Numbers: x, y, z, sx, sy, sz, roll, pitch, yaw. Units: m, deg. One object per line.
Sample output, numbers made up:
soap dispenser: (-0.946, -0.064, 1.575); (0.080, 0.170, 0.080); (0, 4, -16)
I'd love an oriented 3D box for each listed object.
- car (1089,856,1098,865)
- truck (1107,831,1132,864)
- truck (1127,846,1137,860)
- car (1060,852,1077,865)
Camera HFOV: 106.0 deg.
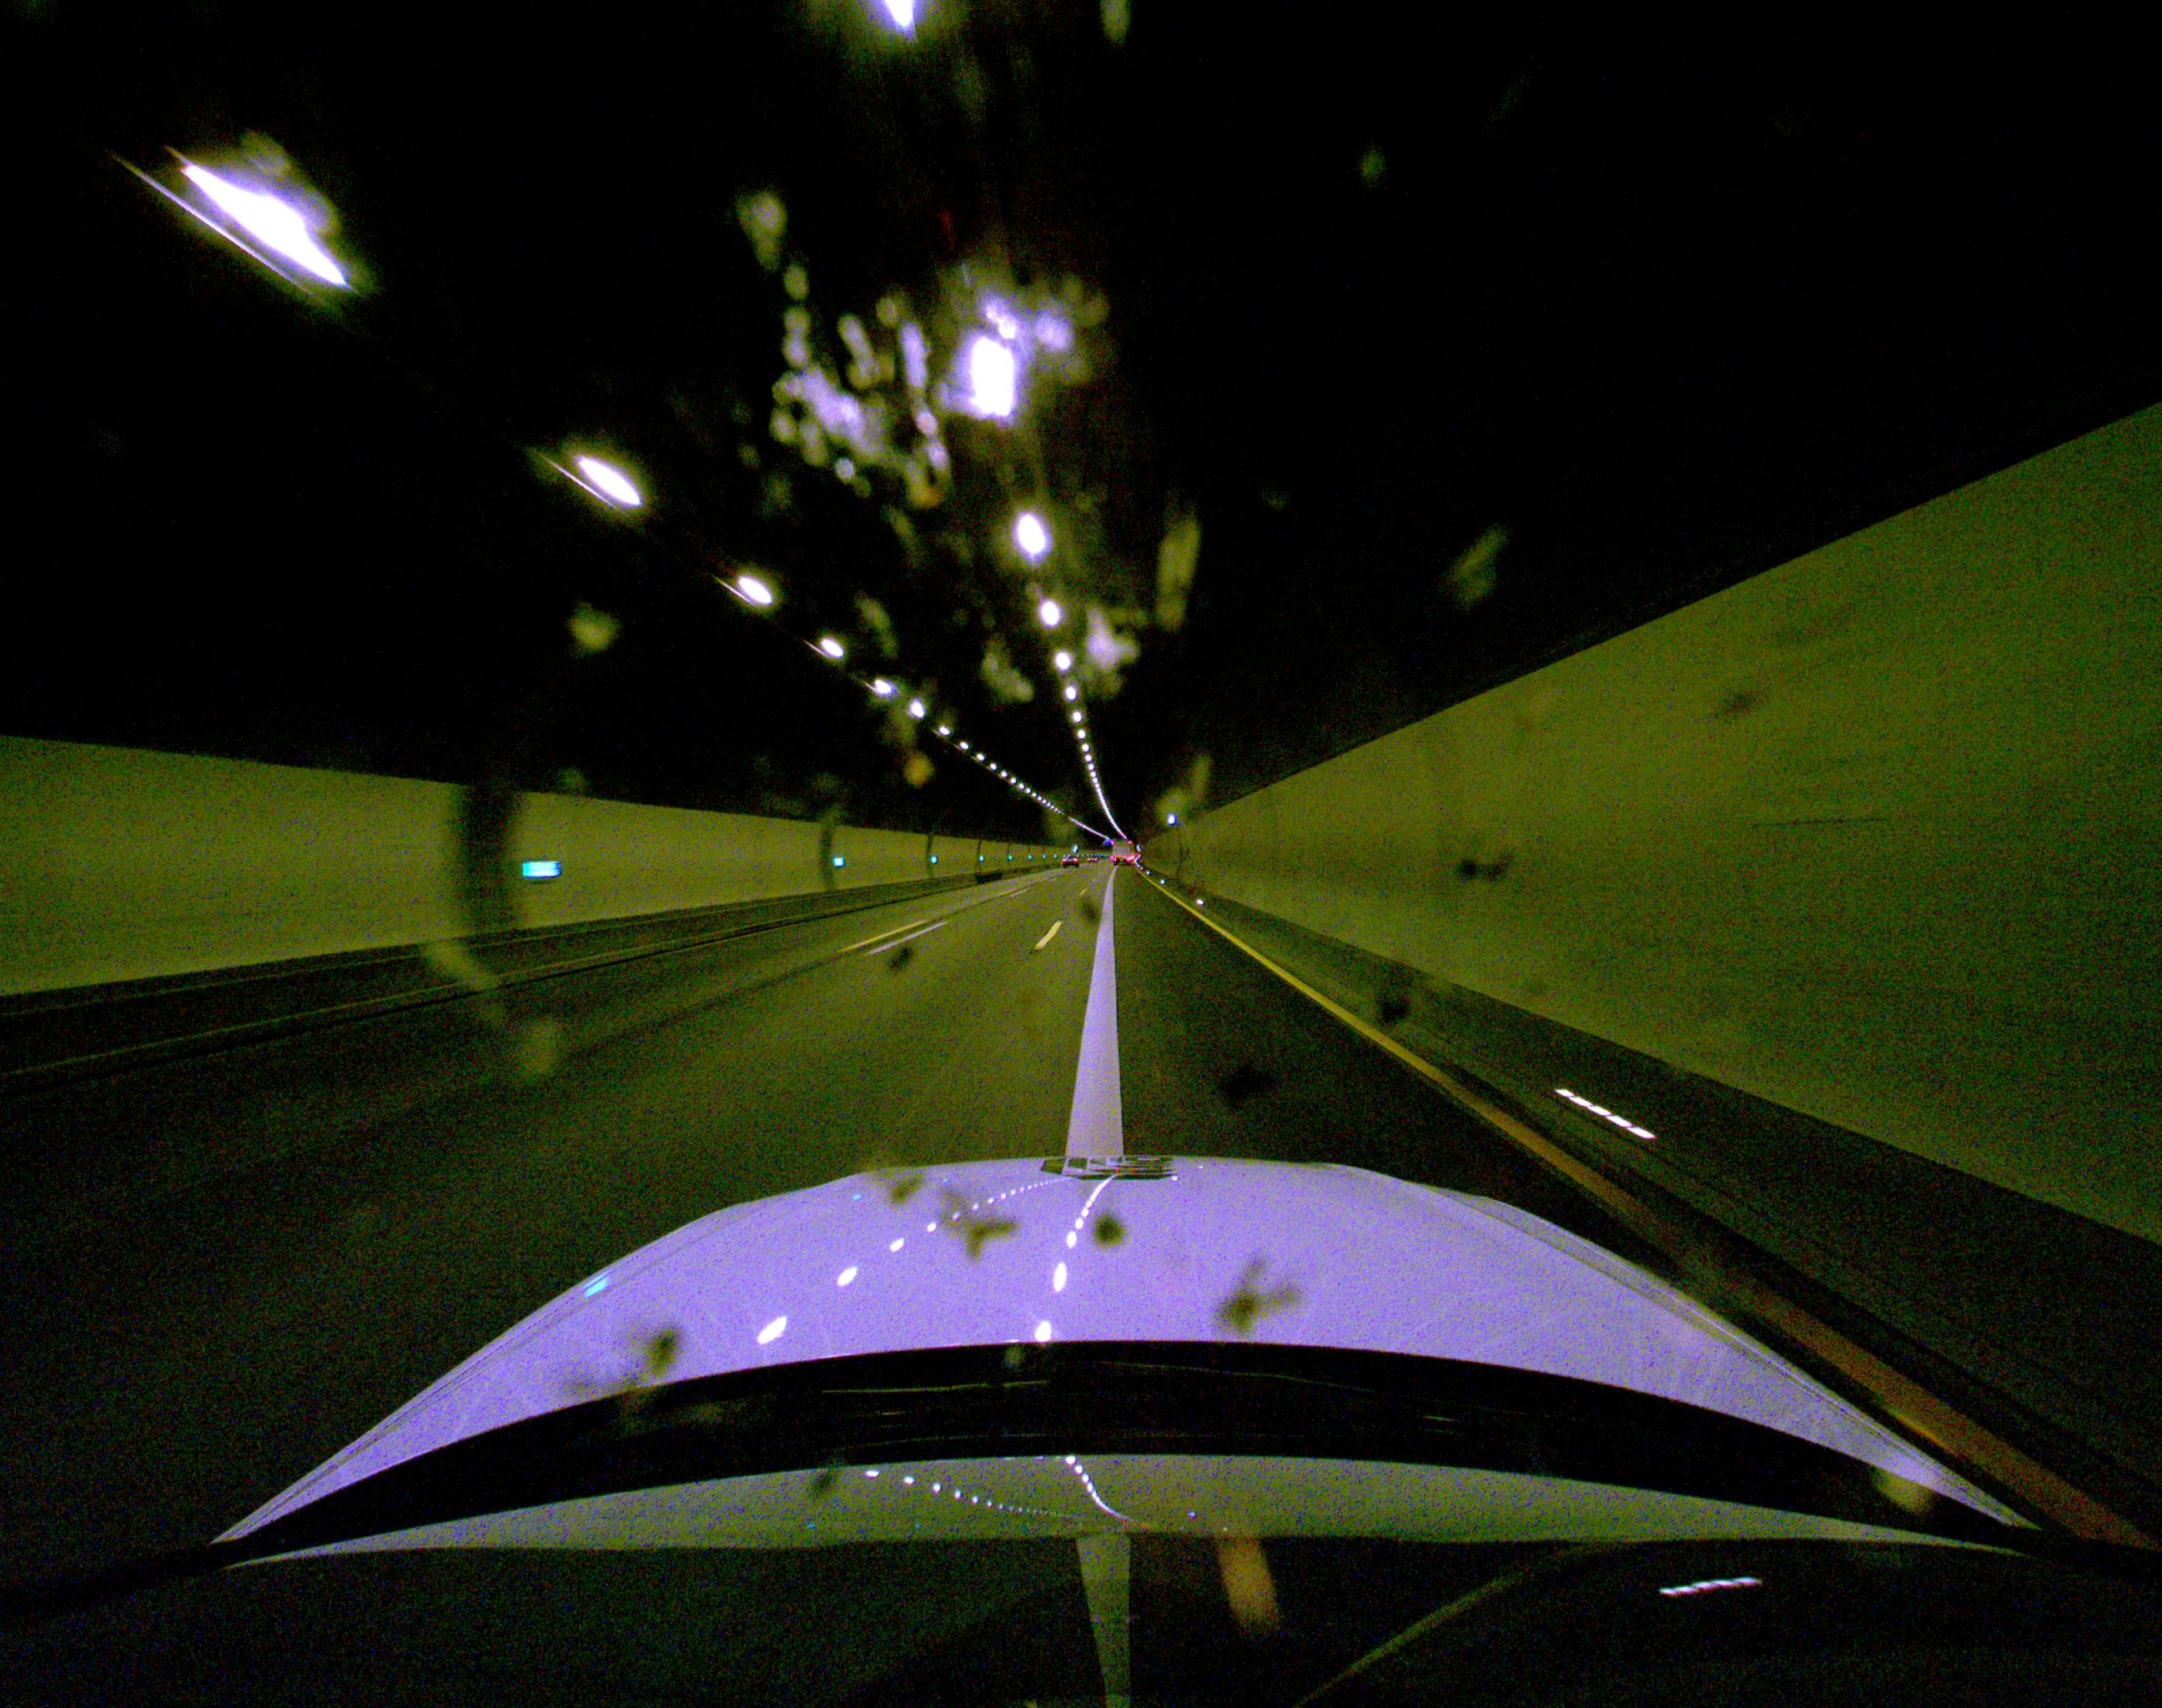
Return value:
car: (2.428, 1.233, 156.473); (1.806, 1.520, 4.001); (0, 1, 0)
truck: (5.868, -0.913, 126.974); (3.267, 4.650, 17.286); (-2, 0, 1)
truck: (15.548, -0.279, 248.451); (2.911, 4.048, 14.038); (-2, 0, 3)
car: (-1.538, 0.568, 100.880); (1.806, 1.618, 4.002); (0, 0, 2)
